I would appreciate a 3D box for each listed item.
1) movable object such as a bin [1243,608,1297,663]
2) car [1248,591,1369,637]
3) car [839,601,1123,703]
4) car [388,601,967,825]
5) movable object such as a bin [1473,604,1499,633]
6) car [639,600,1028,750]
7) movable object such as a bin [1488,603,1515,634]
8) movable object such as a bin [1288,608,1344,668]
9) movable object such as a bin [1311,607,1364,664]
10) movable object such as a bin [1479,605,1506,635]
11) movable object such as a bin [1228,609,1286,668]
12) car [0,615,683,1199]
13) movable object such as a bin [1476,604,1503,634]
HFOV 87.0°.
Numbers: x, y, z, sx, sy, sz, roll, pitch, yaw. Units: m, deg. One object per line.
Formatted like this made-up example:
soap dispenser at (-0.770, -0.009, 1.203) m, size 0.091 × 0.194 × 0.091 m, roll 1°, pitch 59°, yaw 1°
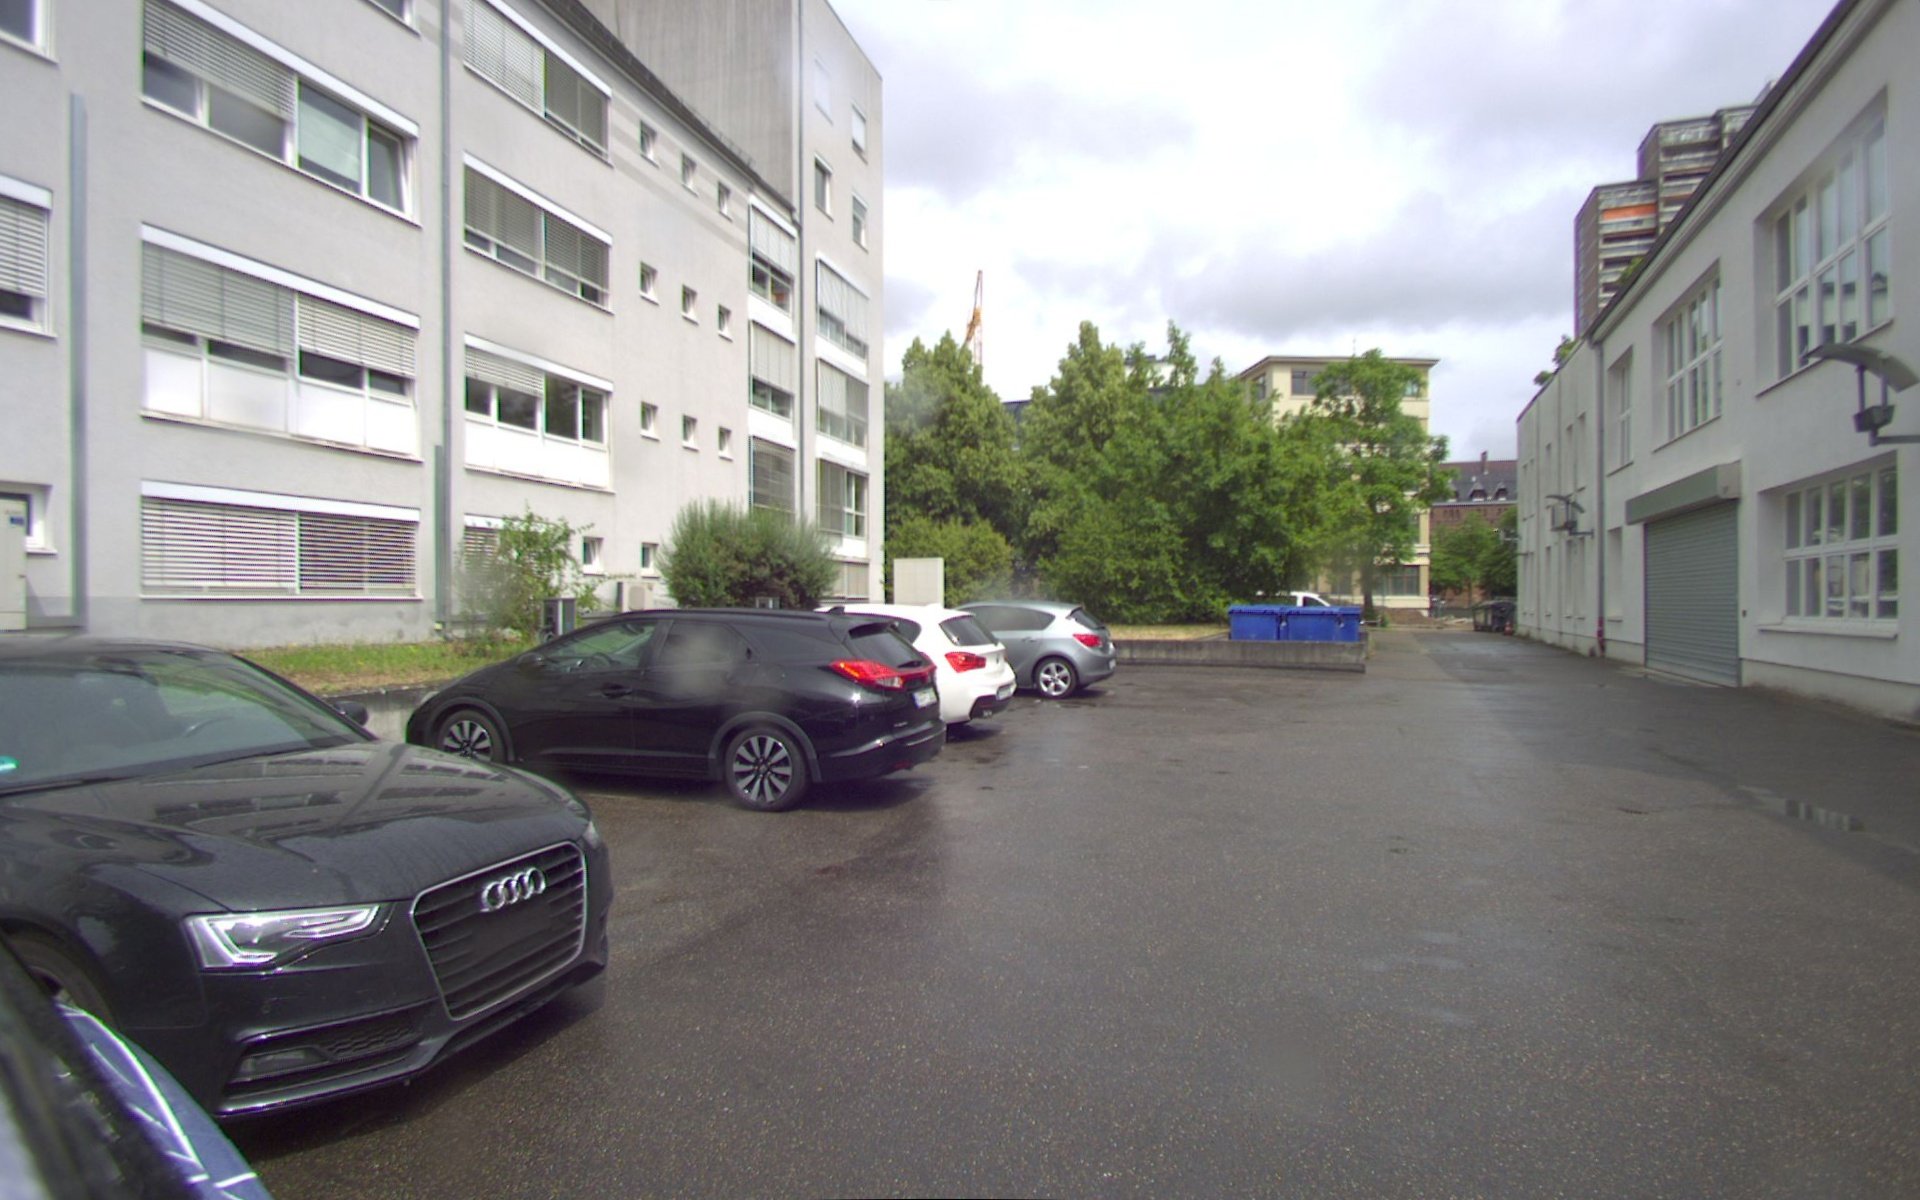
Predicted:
movable object such as a bin at (7.866, 0.879, 25.641) m, size 1.125 × 1.338 × 1.198 m, roll -1°, pitch 0°, yaw 25°
car at (13.688, 0.544, 39.777) m, size 4.313 × 1.740 × 1.706 m, roll -1°, pitch 0°, yaw 28°
car at (0.370, 0.762, 16.303) m, size 4.277 × 1.453 × 1.754 m, roll 0°, pitch 0°, yaw 16°
car at (-2.227, 0.760, 8.228) m, size 4.277 × 1.453 × 1.754 m, roll 0°, pitch 0°, yaw 16°
movable object such as a bin at (25.739, 0.886, 49.530) m, size 1.061 × 1.366 × 1.254 m, roll -1°, pitch 0°, yaw 26°
car at (-1.408, 0.745, 11.535) m, size 4.091 × 1.453 × 1.686 m, roll 0°, pitch 0°, yaw 18°
movable object such as a bin at (24.165, 0.814, 45.177) m, size 0.973 × 1.366 × 0.911 m, roll -1°, pitch 0°, yaw 26°
movable object such as a bin at (8.321, 0.879, 23.623) m, size 1.089 × 1.335 × 1.198 m, roll -1°, pitch 0°, yaw 25°
movable object such as a bin at (9.364, 0.867, 25.093) m, size 1.125 × 1.338 × 1.198 m, roll -1°, pitch 0°, yaw 25°
movable object such as a bin at (24.645, 0.909, 46.856) m, size 1.040 × 1.366 × 1.197 m, roll -1°, pitch 0°, yaw 26°
movable object such as a bin at (7.087, 0.895, 24.126) m, size 1.125 × 1.338 × 1.198 m, roll -1°, pitch 0°, yaw 25°
car at (-3.456, 0.775, 3.725) m, size 4.490 × 1.362 × 1.753 m, roll 0°, pitch 0°, yaw 17°
movable object such as a bin at (25.144, 0.899, 48.078) m, size 1.057 × 1.366 × 1.208 m, roll -1°, pitch 0°, yaw 26°
